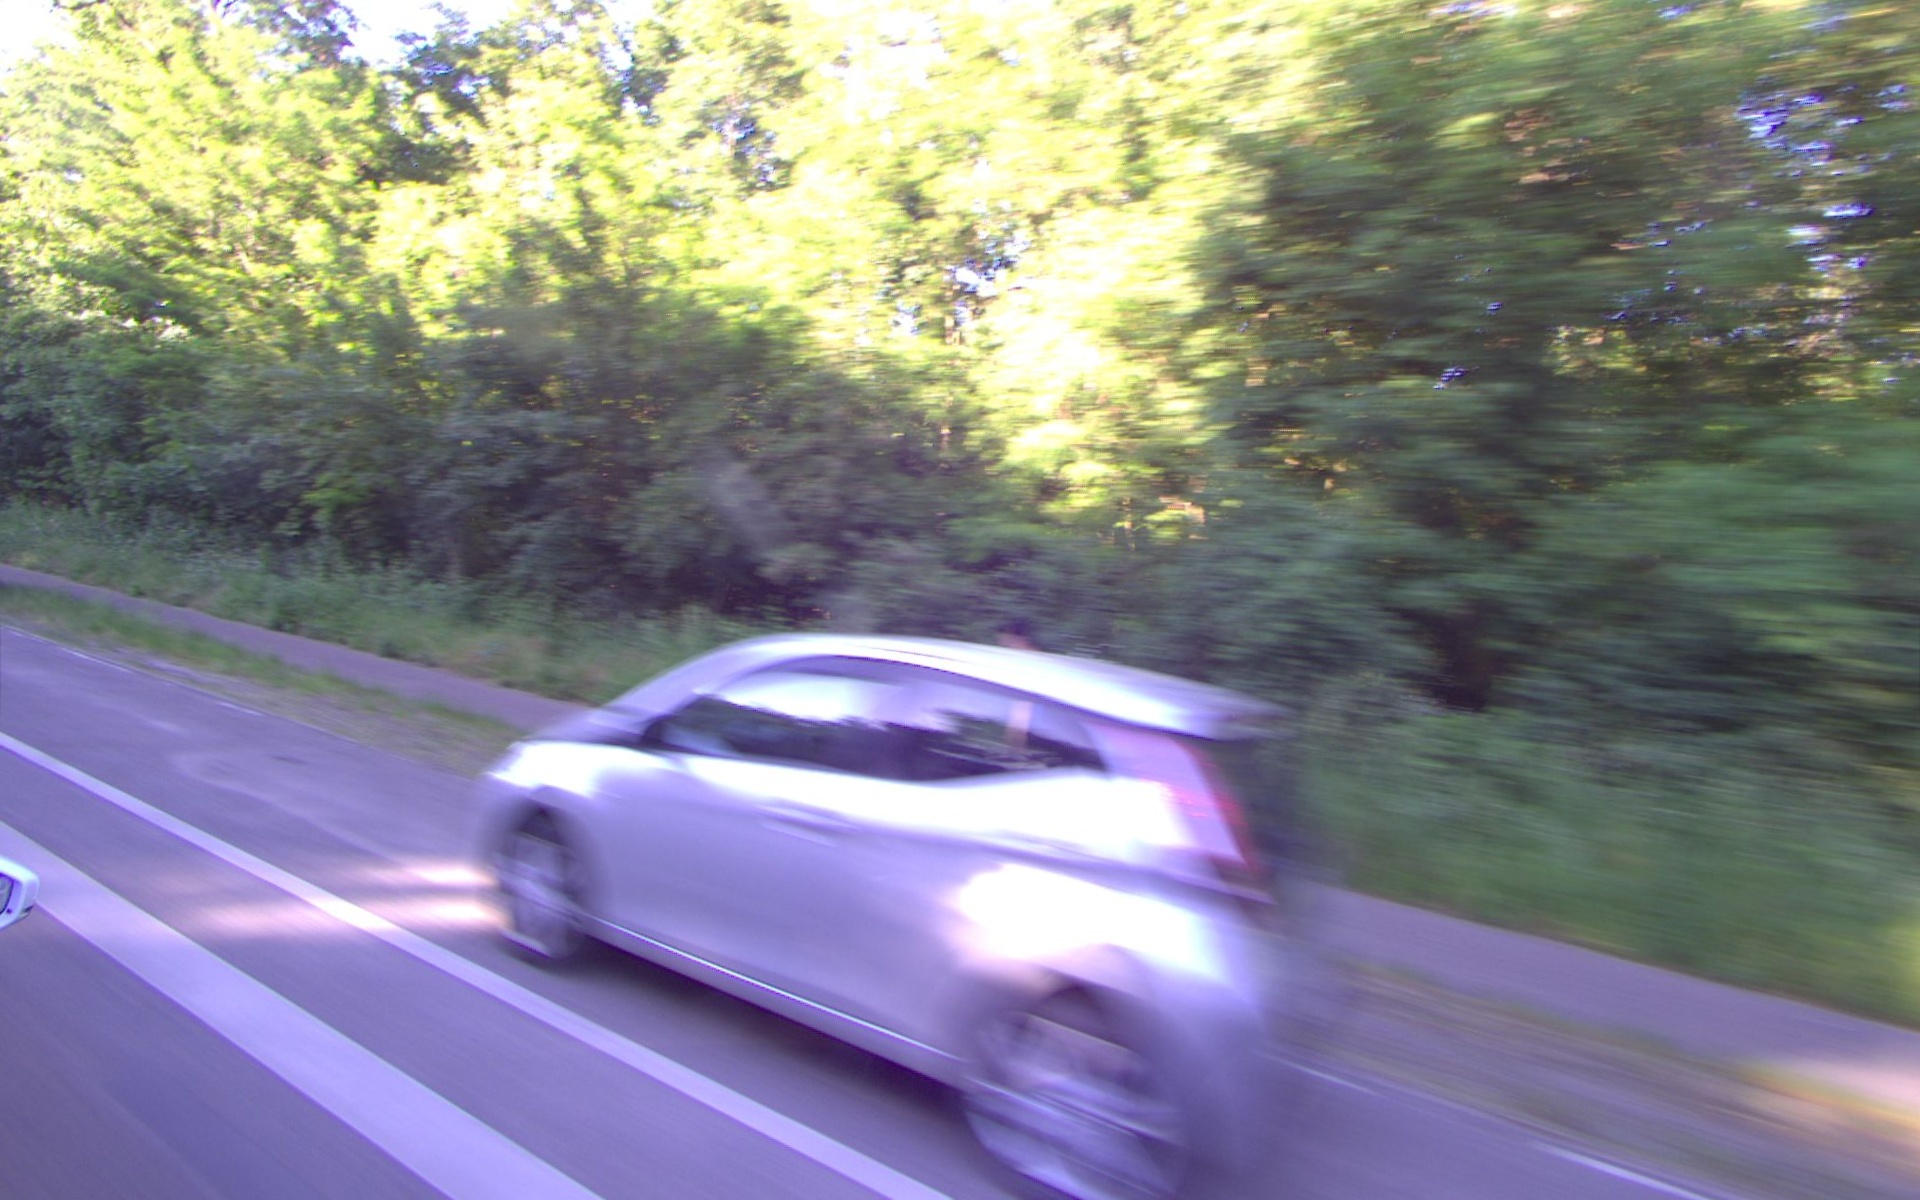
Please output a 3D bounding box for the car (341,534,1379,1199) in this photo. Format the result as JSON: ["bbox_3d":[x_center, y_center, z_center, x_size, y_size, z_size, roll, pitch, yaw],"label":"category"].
[{"bbox_3d":[-0.590,0.779,4.210,3.956,1.562,1.716,7,-3,33],"label":"car"}]

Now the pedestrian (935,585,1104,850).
[{"bbox_3d":[0.490,0.921,8.202,0.904,1.941,0.769,7,0,32],"label":"pedestrian"}]

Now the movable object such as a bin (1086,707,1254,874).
[{"bbox_3d":[1.653,1.441,7.882,0.970,1.060,0.790,7,0,32],"label":"movable object such as a bin"}]
